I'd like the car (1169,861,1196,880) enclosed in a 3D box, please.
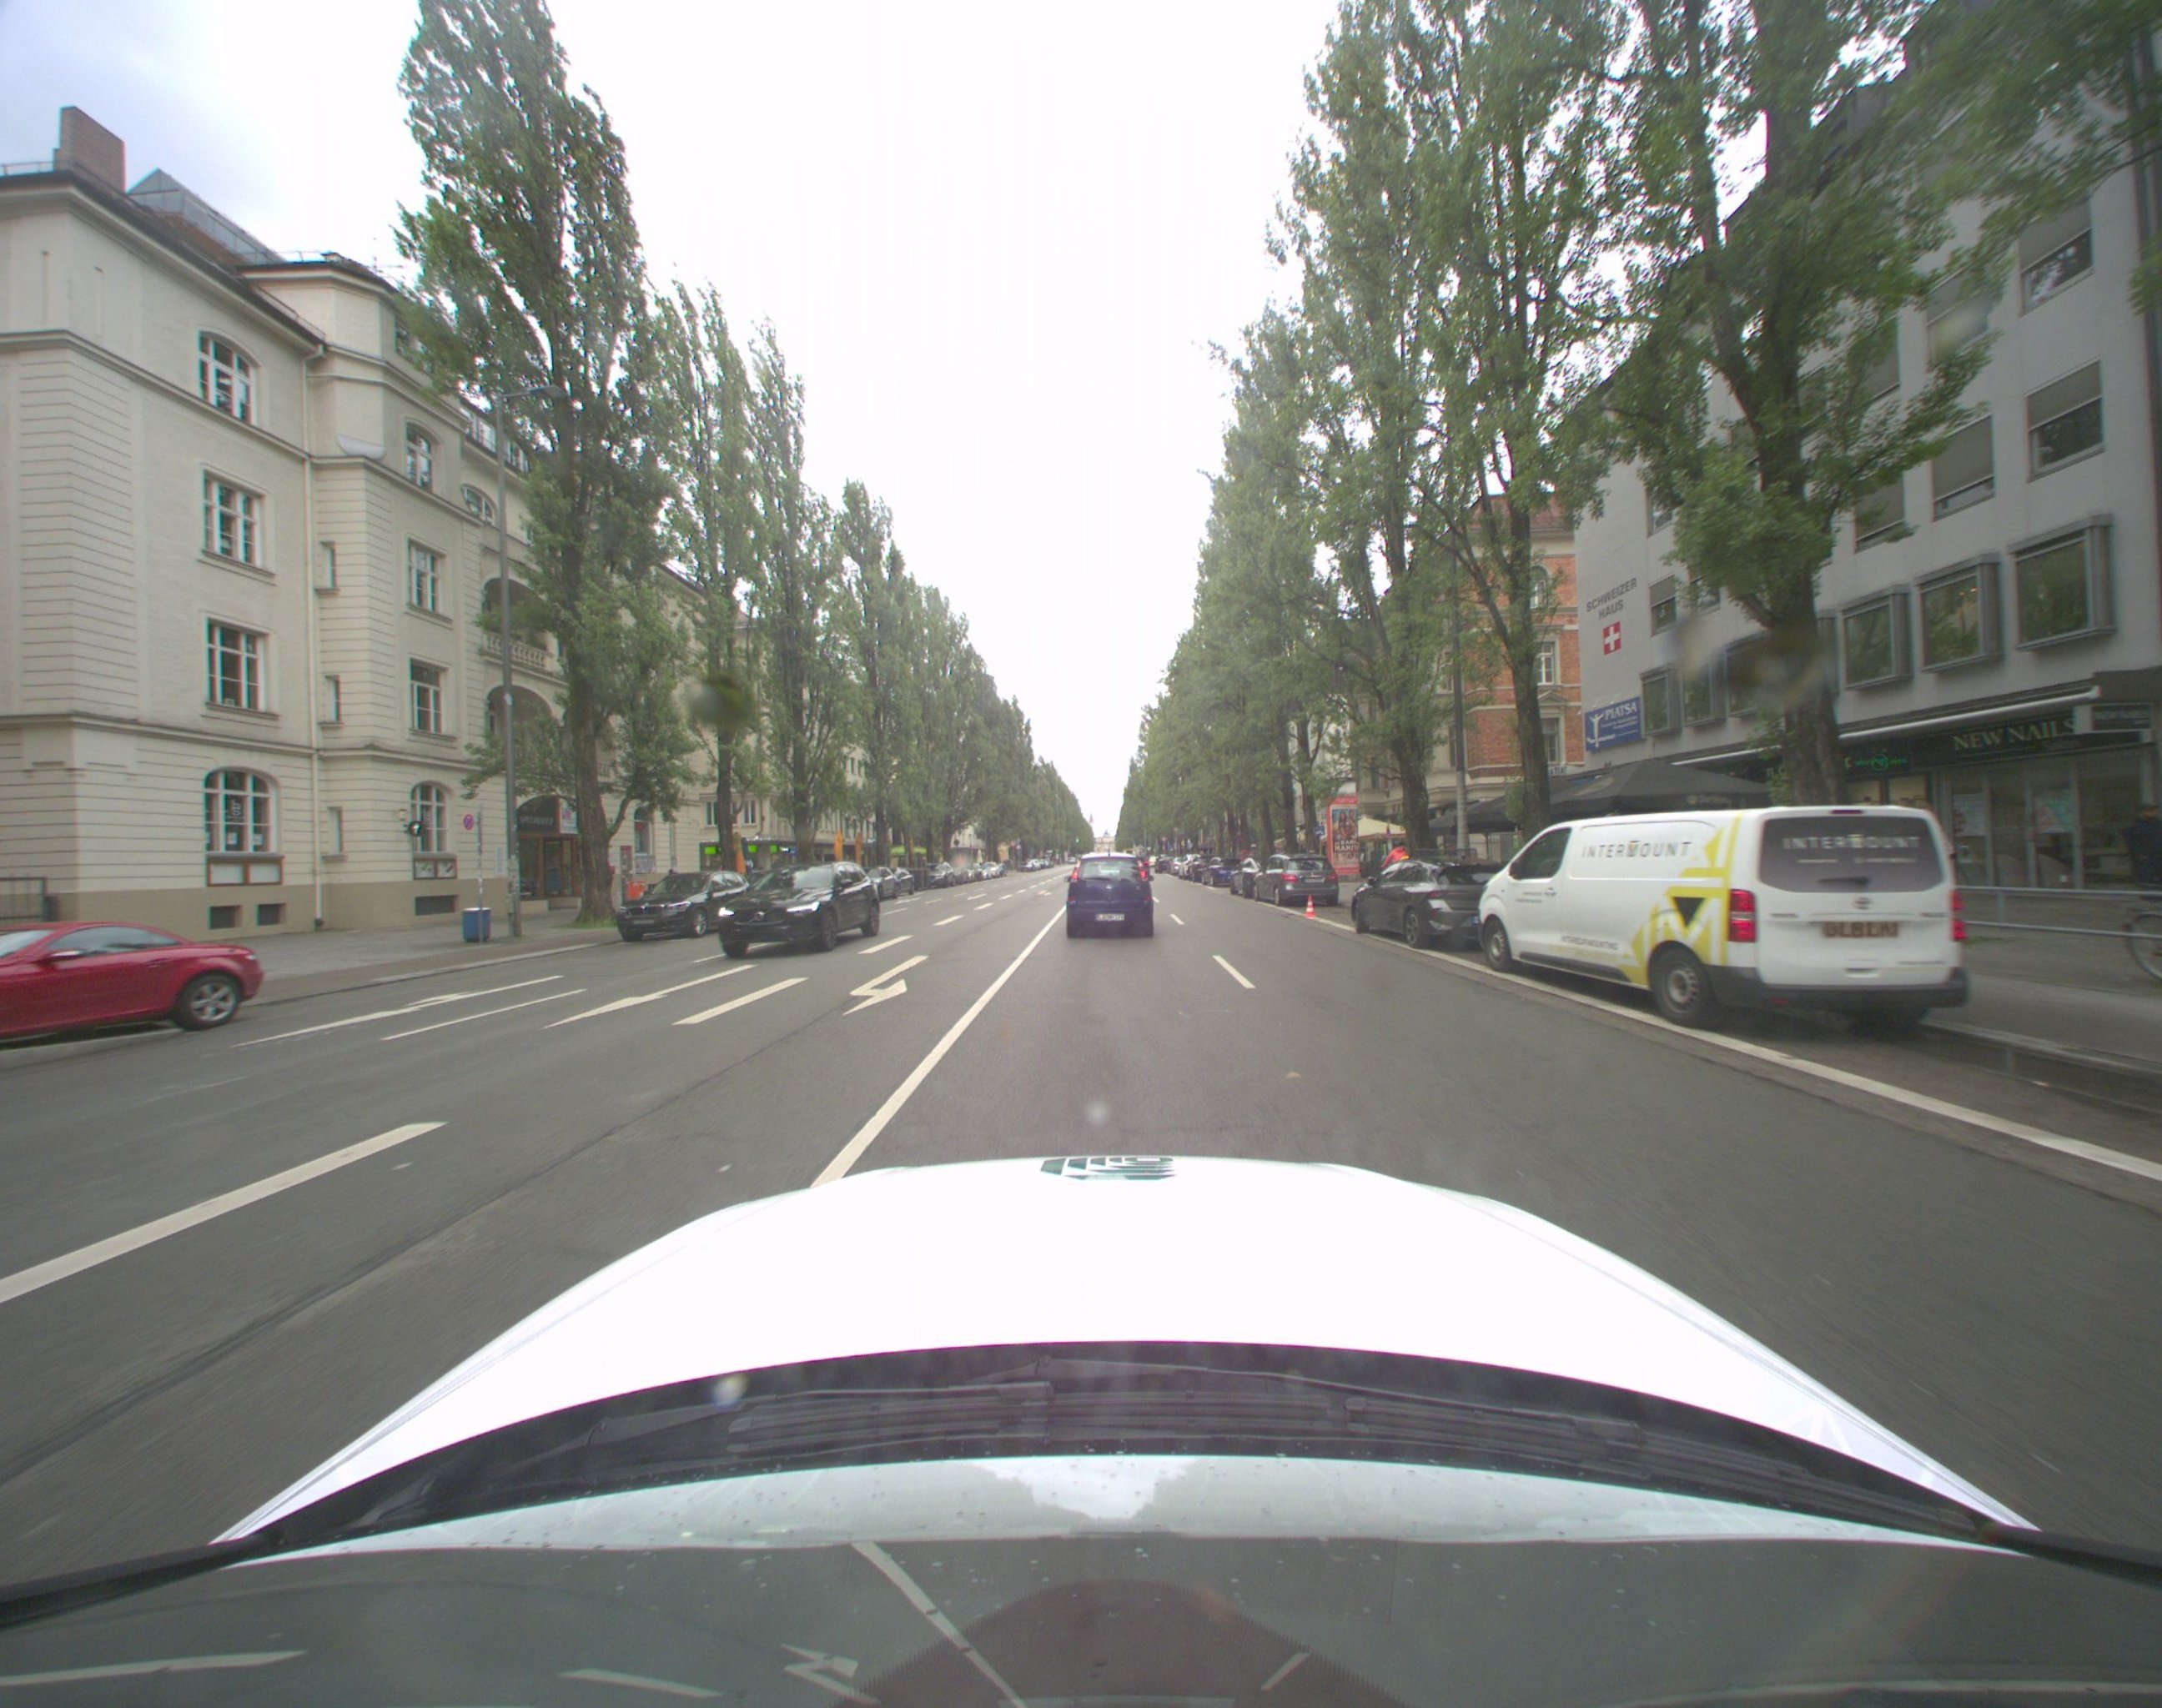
[{"bbox_3d":[7.775,1.241,62.738,1.664,1.406,4.128,0,0,1],"label":"car"}]

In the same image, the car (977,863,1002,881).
[{"bbox_3d":[-8.477,1.622,75.901,1.829,1.546,4.085,-2,0,0],"label":"car"}]

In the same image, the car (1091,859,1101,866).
[{"bbox_3d":[3.110,1.711,167.580,1.955,1.399,3.779,-2,0,1],"label":"car"}]

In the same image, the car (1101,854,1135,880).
[{"bbox_3d":[2.312,0.814,51.805,1.987,1.497,4.000,-2,0,1],"label":"car"}]

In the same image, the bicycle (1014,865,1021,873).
[{"bbox_3d":[-7.995,1.884,102.743,0.664,1.006,2.460,-2,0,-1],"label":"bicycle"}]

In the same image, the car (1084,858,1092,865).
[{"bbox_3d":[1.908,2.049,219.991,1.828,1.677,3.779,-2,0,1],"label":"car"}]

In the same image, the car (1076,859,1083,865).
[{"bbox_3d":[-0.360,2.142,221.722,1.828,1.739,3.779,-2,0,1],"label":"car"}]

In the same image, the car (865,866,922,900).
[{"bbox_3d":[-9.632,1.461,42.161,1.657,1.504,4.316,-4,0,3],"label":"car"}]

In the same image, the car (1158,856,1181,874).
[{"bbox_3d":[7.857,0.952,72.634,1.791,1.594,4.106,0,0,2],"label":"car"}]

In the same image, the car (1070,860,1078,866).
[{"bbox_3d":[-1.996,2.427,228.163,1.955,1.549,3.779,-2,0,1],"label":"car"}]

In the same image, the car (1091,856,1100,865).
[{"bbox_3d":[3.154,1.449,174.656,1.828,1.761,3.779,-2,0,1],"label":"car"}]

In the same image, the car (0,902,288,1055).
[{"bbox_3d":[-11.141,1.286,8.340,1.871,1.298,4.097,-2,0,3],"label":"car"}]

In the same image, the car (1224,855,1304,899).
[{"bbox_3d":[6.621,0.784,29.951,1.872,1.432,4.804,-2,0,1],"label":"car"}]

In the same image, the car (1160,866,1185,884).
[{"bbox_3d":[7.628,1.709,68.132,1.676,1.415,3.583,0,0,1],"label":"car"}]

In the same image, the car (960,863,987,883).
[{"bbox_3d":[-8.896,1.556,67.759,1.836,1.565,4.174,-2,0,-4],"label":"car"}]

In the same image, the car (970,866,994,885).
[{"bbox_3d":[-8.709,1.867,71.716,1.566,1.534,2.925,-2,0,4],"label":"car"}]

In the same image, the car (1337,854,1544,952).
[{"bbox_3d":[6.022,0.742,14.252,1.714,1.442,4.353,0,0,0],"label":"car"}]

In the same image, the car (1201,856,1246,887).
[{"bbox_3d":[7.017,0.837,40.455,1.742,1.405,4.469,-2,0,4],"label":"car"}]

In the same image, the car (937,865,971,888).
[{"bbox_3d":[-9.117,1.584,58.846,1.692,1.550,4.082,-2,0,1],"label":"car"}]

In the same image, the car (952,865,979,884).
[{"bbox_3d":[-9.031,1.586,63.734,1.626,1.428,2.983,-2,0,1],"label":"car"}]

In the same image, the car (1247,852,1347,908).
[{"bbox_3d":[6.529,0.750,25.111,1.812,1.506,4.230,-2,0,-2],"label":"car"}]

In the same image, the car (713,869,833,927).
[{"bbox_3d":[-9.970,1.355,26.833,1.794,1.594,4.637,-3,0,5],"label":"car"}]

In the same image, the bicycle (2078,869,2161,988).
[{"bbox_3d":[9.811,0.675,7.084,0.362,1.038,1.735,-2,0,10],"label":"bicycle"}]

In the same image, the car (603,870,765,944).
[{"bbox_3d":[-10.266,1.291,21.529,1.813,1.618,4.717,-2,0,2],"label":"car"}]

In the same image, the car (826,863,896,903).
[{"bbox_3d":[-9.632,1.235,35.962,1.775,1.575,4.134,-2,0,2],"label":"car"}]

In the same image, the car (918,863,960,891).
[{"bbox_3d":[-9.365,1.466,54.053,1.858,1.654,4.616,-4,-1,1],"label":"car"}]

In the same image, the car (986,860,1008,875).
[{"bbox_3d":[-8.363,1.316,81.226,1.579,1.447,3.394,-2,0,4],"label":"car"}]

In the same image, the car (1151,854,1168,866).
[{"bbox_3d":[9.610,0.780,99.747,1.890,1.362,3.901,-2,0,2],"label":"car"}]

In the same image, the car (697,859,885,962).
[{"bbox_3d":[-5.415,0.965,15.910,1.928,1.623,4.338,-4,0,1],"label":"car"}]

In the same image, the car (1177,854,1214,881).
[{"bbox_3d":[7.353,0.852,52.565,1.821,1.621,4.748,-1,0,1],"label":"car"}]

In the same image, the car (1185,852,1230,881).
[{"bbox_3d":[7.257,0.705,47.139,1.986,1.565,4.484,-2,0,1],"label":"car"}]
